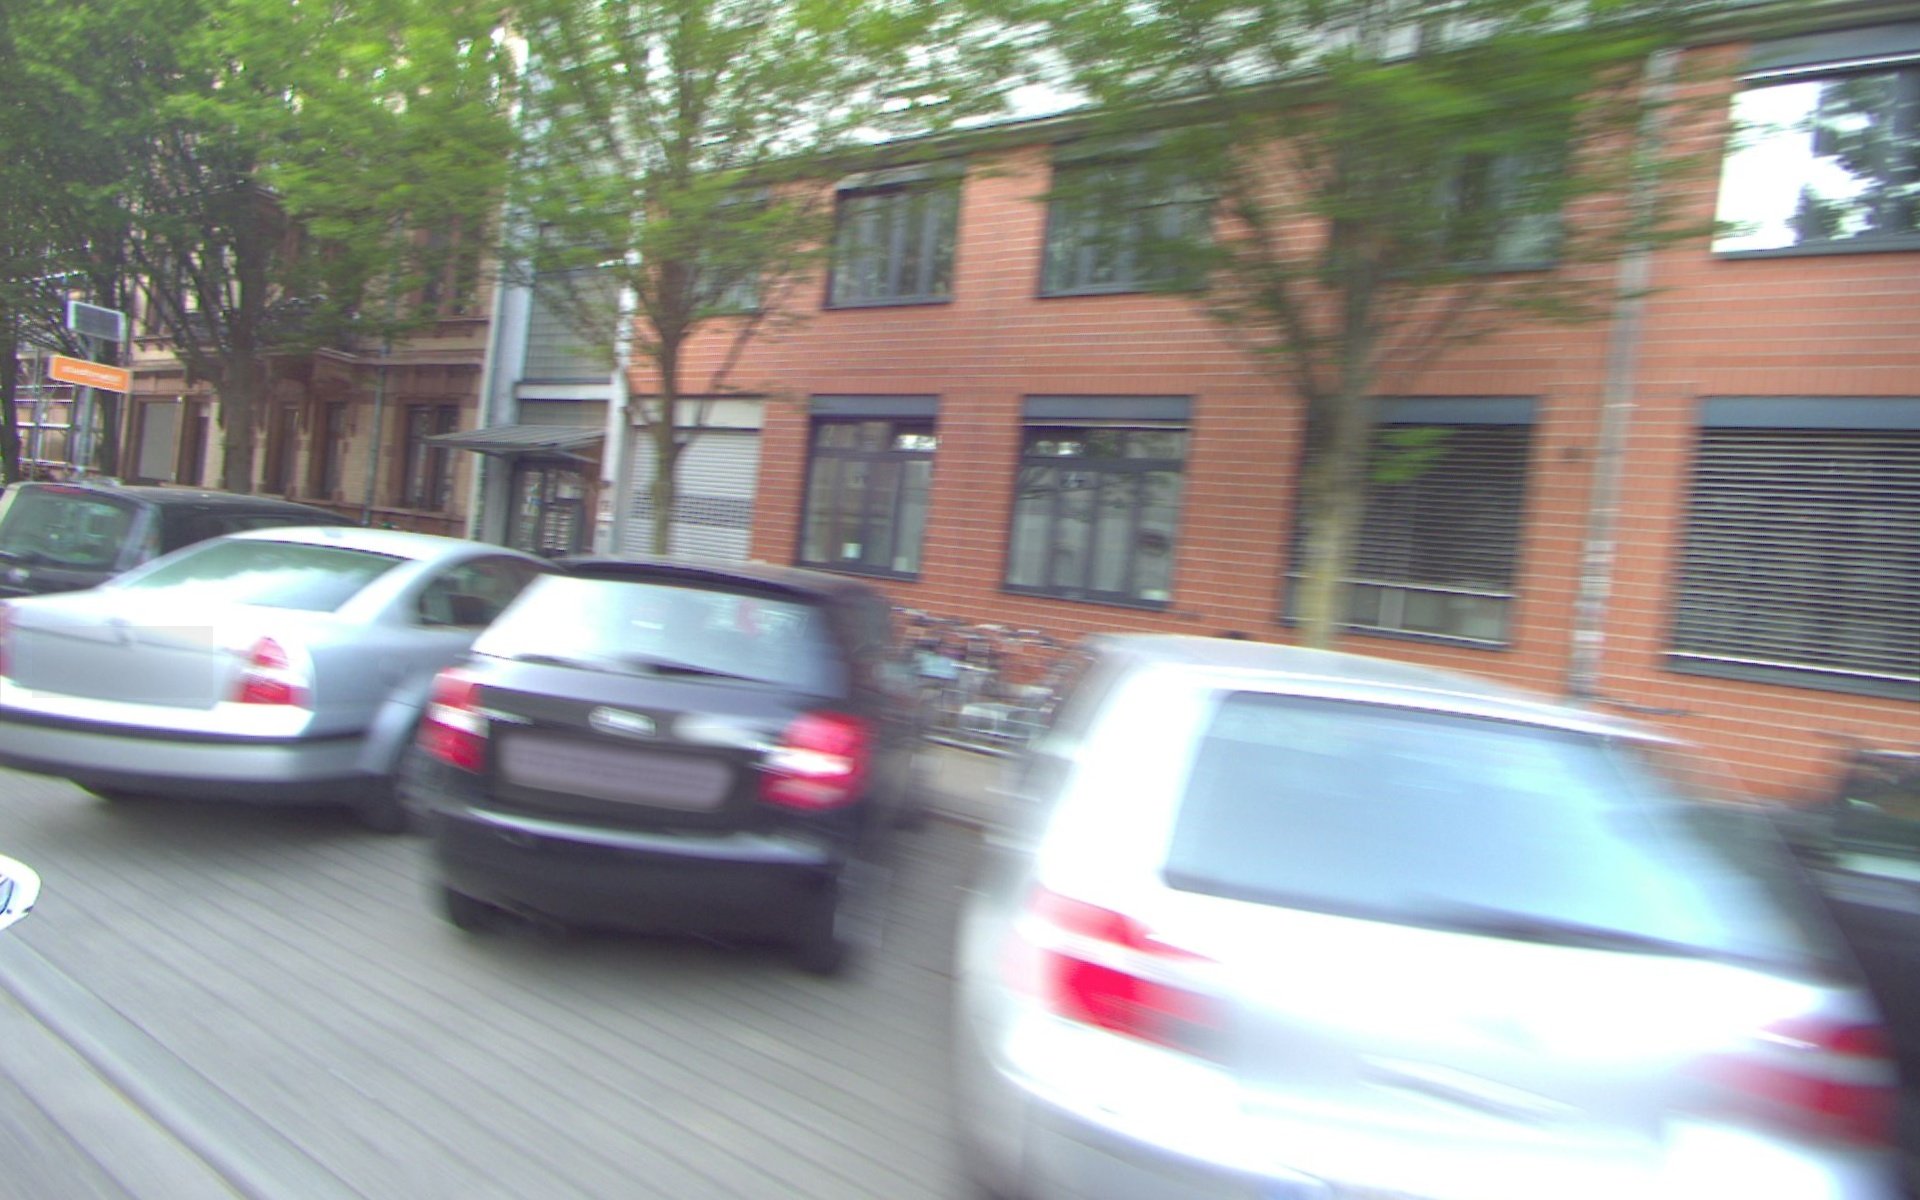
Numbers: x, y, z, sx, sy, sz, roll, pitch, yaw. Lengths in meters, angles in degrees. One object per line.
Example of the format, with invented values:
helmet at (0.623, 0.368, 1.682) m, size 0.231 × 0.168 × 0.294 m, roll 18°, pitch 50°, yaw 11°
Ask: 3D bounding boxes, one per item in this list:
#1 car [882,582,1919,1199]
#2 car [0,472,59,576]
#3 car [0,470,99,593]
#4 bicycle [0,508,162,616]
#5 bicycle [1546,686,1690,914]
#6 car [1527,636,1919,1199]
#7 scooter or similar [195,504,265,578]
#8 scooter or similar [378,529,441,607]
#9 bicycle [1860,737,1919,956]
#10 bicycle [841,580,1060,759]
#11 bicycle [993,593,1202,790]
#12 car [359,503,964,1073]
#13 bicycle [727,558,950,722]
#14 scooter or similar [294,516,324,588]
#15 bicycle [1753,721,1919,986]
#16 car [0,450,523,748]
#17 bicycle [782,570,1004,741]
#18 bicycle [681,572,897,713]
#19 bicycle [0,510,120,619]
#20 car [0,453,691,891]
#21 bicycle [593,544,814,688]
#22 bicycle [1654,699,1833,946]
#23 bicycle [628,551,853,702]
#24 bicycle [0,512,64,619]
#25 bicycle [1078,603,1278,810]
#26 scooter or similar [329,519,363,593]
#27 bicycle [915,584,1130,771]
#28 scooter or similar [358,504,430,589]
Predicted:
car at (0.852, 0.839, 3.415) m, size 1.690 × 1.500 × 3.606 m, roll 7°, pitch 0°, yaw 4°
car at (-15.443, -1.250, 14.184) m, size 1.729 × 1.550 × 3.836 m, roll 7°, pitch 1°, yaw 6°
car at (-12.786, -0.938, 12.129) m, size 1.742 × 1.493 × 3.404 m, roll 8°, pitch 1°, yaw 0°
bicycle at (-10.828, -0.464, 12.175) m, size 1.823 × 1.121 × 0.559 m, roll 6°, pitch 0°, yaw 2°
bicycle at (4.391, 1.204, 6.744) m, size 0.553 × 1.181 × 2.536 m, roll 7°, pitch 0°, yaw 33°
car at (3.273, 1.052, 2.273) m, size 1.685 × 1.600 × 3.603 m, roll 7°, pitch 0°, yaw -2°
scooter or similar at (-13.783, -1.126, 18.986) m, size 1.328 × 1.262 × 0.510 m, roll 8°, pitch 10°, yaw 29°
scooter or similar at (-9.633, -0.572, 17.565) m, size 1.751 × 1.235 × 0.410 m, roll 7°, pitch 5°, yaw 43°
bicycle at (5.885, 1.473, 5.782) m, size 0.553 × 1.181 × 2.536 m, roll 7°, pitch 0°, yaw 33°
bicycle at (0.009, 0.652, 9.340) m, size 0.589 × 1.396 × 2.536 m, roll 8°, pitch 0°, yaw 33°
bicycle at (1.264, 0.762, 8.589) m, size 0.589 × 1.396 × 2.536 m, roll 8°, pitch 0°, yaw 33°
car at (-0.922, 0.584, 4.876) m, size 1.533 × 1.553 × 3.605 m, roll 7°, pitch 0°, yaw 3°
bicycle at (-1.116, 0.437, 10.049) m, size 0.589 × 1.396 × 2.536 m, roll 8°, pitch 0°, yaw 33°
scooter or similar at (-12.015, -0.909, 18.556) m, size 0.366 × 1.234 × 1.604 m, roll 3°, pitch 3°, yaw -35°
bicycle at (5.383, 1.398, 6.092) m, size 0.553 × 1.181 × 2.536 m, roll 7°, pitch 0°, yaw 33°
car at (-5.518, -0.052, 7.879) m, size 1.725 × 1.657 × 4.000 m, roll 7°, pitch 1°, yaw 11°
bicycle at (-0.550, 0.557, 9.723) m, size 0.589 × 1.396 × 2.536 m, roll 8°, pitch 0°, yaw 33°
bicycle at (-1.696, 0.369, 10.482) m, size 0.589 × 1.263 × 2.531 m, roll 7°, pitch 5°, yaw 33°
bicycle at (-10.836, -0.444, 11.574) m, size 1.823 × 1.121 × 0.559 m, roll 6°, pitch 0°, yaw 2°
car at (-3.327, 0.264, 6.117) m, size 1.773 × 1.553 × 4.387 m, roll 7°, pitch 0°, yaw 4°
bicycle at (-2.764, 0.240, 11.222) m, size 0.589 × 1.396 × 2.536 m, roll 8°, pitch 0°, yaw 33°
bicycle at (4.893, 1.272, 6.421) m, size 0.553 × 1.181 × 2.536 m, roll 7°, pitch 0°, yaw 33°
bicycle at (-2.254, 0.339, 10.770) m, size 0.589 × 1.396 × 2.536 m, roll 8°, pitch 0°, yaw 33°
bicycle at (-10.937, -0.450, 10.874) m, size 1.823 × 1.121 × 0.694 m, roll 6°, pitch 0°, yaw 2°
bicycle at (1.874, 0.838, 8.248) m, size 0.589 × 1.396 × 2.536 m, roll 8°, pitch 0°, yaw 33°
scooter or similar at (-10.913, -0.803, 17.867) m, size 0.366 × 1.234 × 1.687 m, roll 3°, pitch 3°, yaw -35°
bicycle at (0.653, 0.684, 8.941) m, size 0.589 × 1.396 × 2.536 m, roll 8°, pitch 0°, yaw 33°
scooter or similar at (-8.934, -0.865, 15.848) m, size 1.751 × 1.236 × 0.465 m, roll 7°, pitch 8°, yaw 43°
